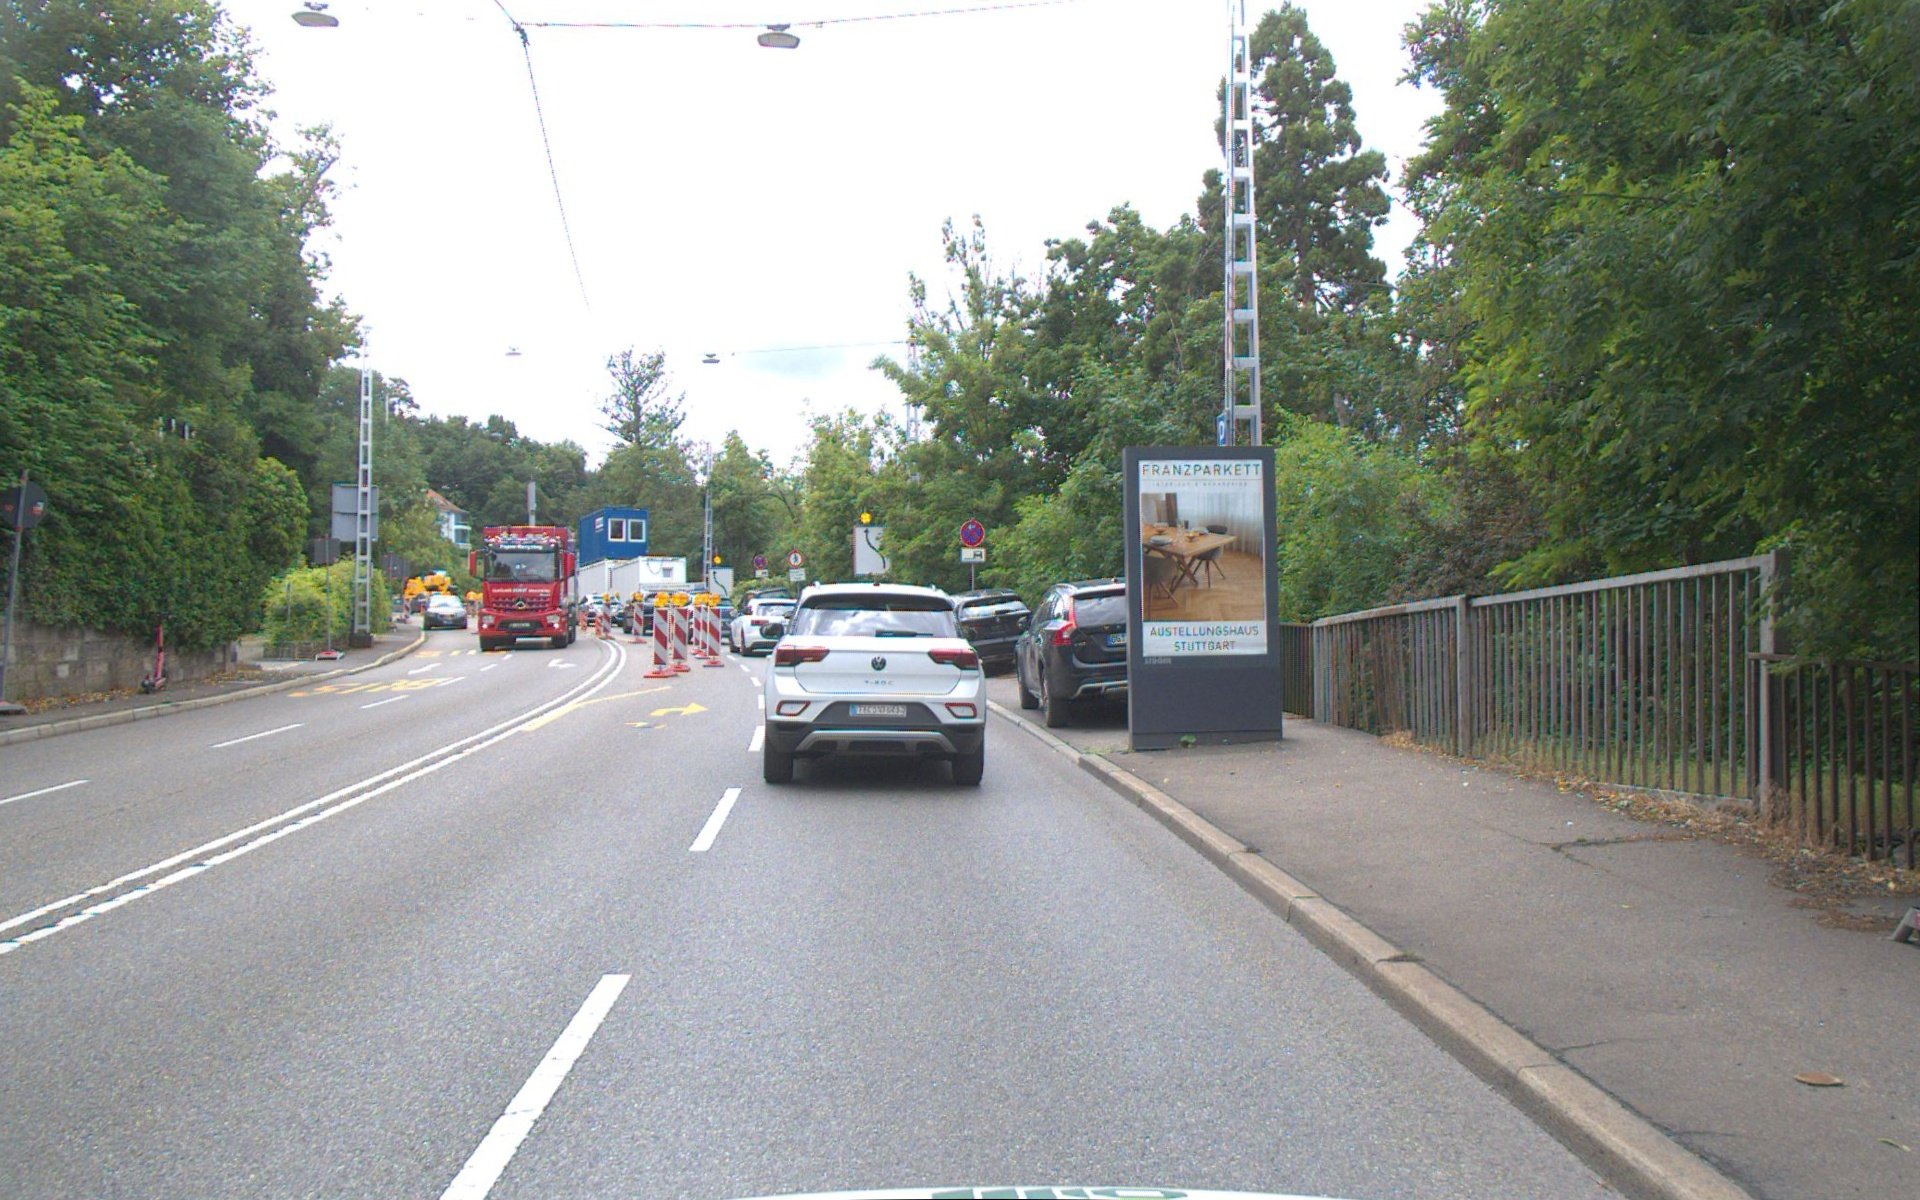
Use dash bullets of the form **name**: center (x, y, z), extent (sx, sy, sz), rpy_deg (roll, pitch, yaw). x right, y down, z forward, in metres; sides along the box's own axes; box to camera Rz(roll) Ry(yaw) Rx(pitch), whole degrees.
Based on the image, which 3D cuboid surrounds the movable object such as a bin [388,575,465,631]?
- **movable object such as a bin**: center (-37.324, 0.197, 115.613), extent (3.497, 3.764, 7.414), rpy_deg (-2, 0, -31)

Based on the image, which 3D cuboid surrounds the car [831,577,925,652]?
- **car**: center (-2.277, 0.361, 44.810), extent (1.818, 1.684, 4.131), rpy_deg (-9, 2, -10)

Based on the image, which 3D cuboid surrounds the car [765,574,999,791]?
- **car**: center (-0.645, 0.598, 14.095), extent (1.722, 1.583, 3.794), rpy_deg (0, 0, -2)

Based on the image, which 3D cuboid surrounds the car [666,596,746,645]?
- **car**: center (-8.221, 0.676, 53.349), extent (1.962, 1.439, 4.131), rpy_deg (-2, -1, -17)

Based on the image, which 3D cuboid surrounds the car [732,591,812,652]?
- **car**: center (-4.919, 0.526, 42.940), extent (1.727, 1.497, 3.784), rpy_deg (0, 0, -12)

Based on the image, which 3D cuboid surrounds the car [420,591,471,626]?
- **car**: center (-22.210, 0.341, 71.322), extent (1.868, 1.406, 3.975), rpy_deg (-2, 1, -21)

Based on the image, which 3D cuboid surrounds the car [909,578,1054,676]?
- **car**: center (0.316, 0.451, 30.443), extent (1.776, 1.488, 4.183), rpy_deg (-6, 1, -10)

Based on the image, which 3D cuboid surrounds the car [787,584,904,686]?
- **car**: center (-2.042, 0.552, 28.644), extent (1.725, 1.637, 3.788), rpy_deg (0, 0, -9)

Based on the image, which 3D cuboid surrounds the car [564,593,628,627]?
- **car**: center (-16.664, 0.458, 75.614), extent (1.968, 1.475, 4.117), rpy_deg (-1, 0, -25)

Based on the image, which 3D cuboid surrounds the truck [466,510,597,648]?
- **truck**: center (-13.215, -0.627, 51.804), extent (2.891, 3.762, 9.897), rpy_deg (-3, 1, -9)

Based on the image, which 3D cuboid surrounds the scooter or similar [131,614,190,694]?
- **scooter or similar**: center (-12.719, 0.847, 26.327), extent (0.528, 1.226, 1.276), rpy_deg (2, 0, -12)

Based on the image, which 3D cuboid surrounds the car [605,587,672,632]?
- **car**: center (-12.184, 0.333, 62.471), extent (1.963, 1.583, 4.129), rpy_deg (-1, 1, -18)
